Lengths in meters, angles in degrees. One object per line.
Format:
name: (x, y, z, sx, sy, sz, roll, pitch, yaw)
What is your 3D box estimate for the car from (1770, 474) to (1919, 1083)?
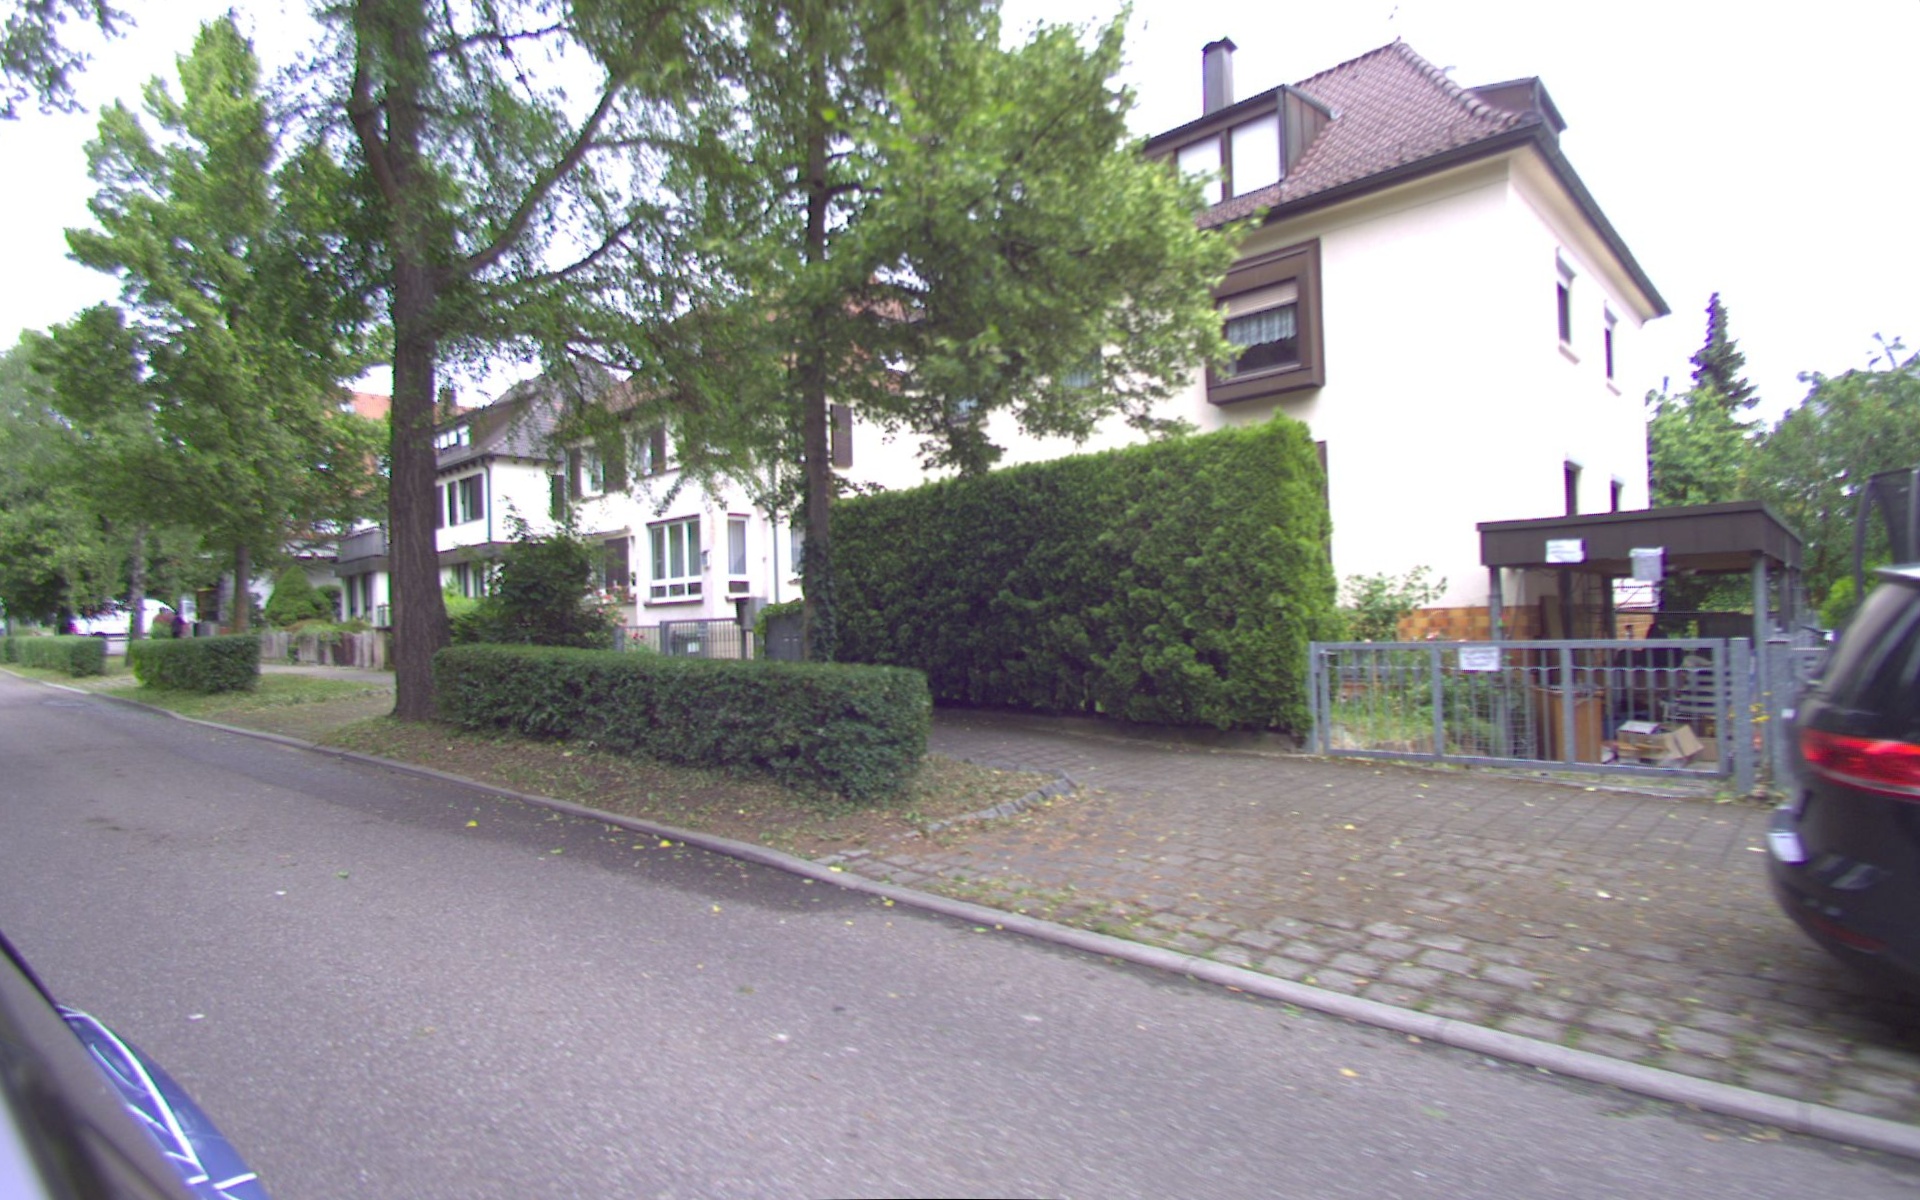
car: (4.854, 0.462, 2.442, 4.447, 1.767, 1.807, -2, -1, 38)

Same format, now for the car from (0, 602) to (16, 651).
car: (-66.026, 1.798, 67.803, 2.396, 3.300, 7.814, 0, -1, -31)

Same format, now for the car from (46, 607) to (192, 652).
car: (-47.815, 1.645, 57.795, 1.962, 2.365, 6.328, -1, -1, 20)
